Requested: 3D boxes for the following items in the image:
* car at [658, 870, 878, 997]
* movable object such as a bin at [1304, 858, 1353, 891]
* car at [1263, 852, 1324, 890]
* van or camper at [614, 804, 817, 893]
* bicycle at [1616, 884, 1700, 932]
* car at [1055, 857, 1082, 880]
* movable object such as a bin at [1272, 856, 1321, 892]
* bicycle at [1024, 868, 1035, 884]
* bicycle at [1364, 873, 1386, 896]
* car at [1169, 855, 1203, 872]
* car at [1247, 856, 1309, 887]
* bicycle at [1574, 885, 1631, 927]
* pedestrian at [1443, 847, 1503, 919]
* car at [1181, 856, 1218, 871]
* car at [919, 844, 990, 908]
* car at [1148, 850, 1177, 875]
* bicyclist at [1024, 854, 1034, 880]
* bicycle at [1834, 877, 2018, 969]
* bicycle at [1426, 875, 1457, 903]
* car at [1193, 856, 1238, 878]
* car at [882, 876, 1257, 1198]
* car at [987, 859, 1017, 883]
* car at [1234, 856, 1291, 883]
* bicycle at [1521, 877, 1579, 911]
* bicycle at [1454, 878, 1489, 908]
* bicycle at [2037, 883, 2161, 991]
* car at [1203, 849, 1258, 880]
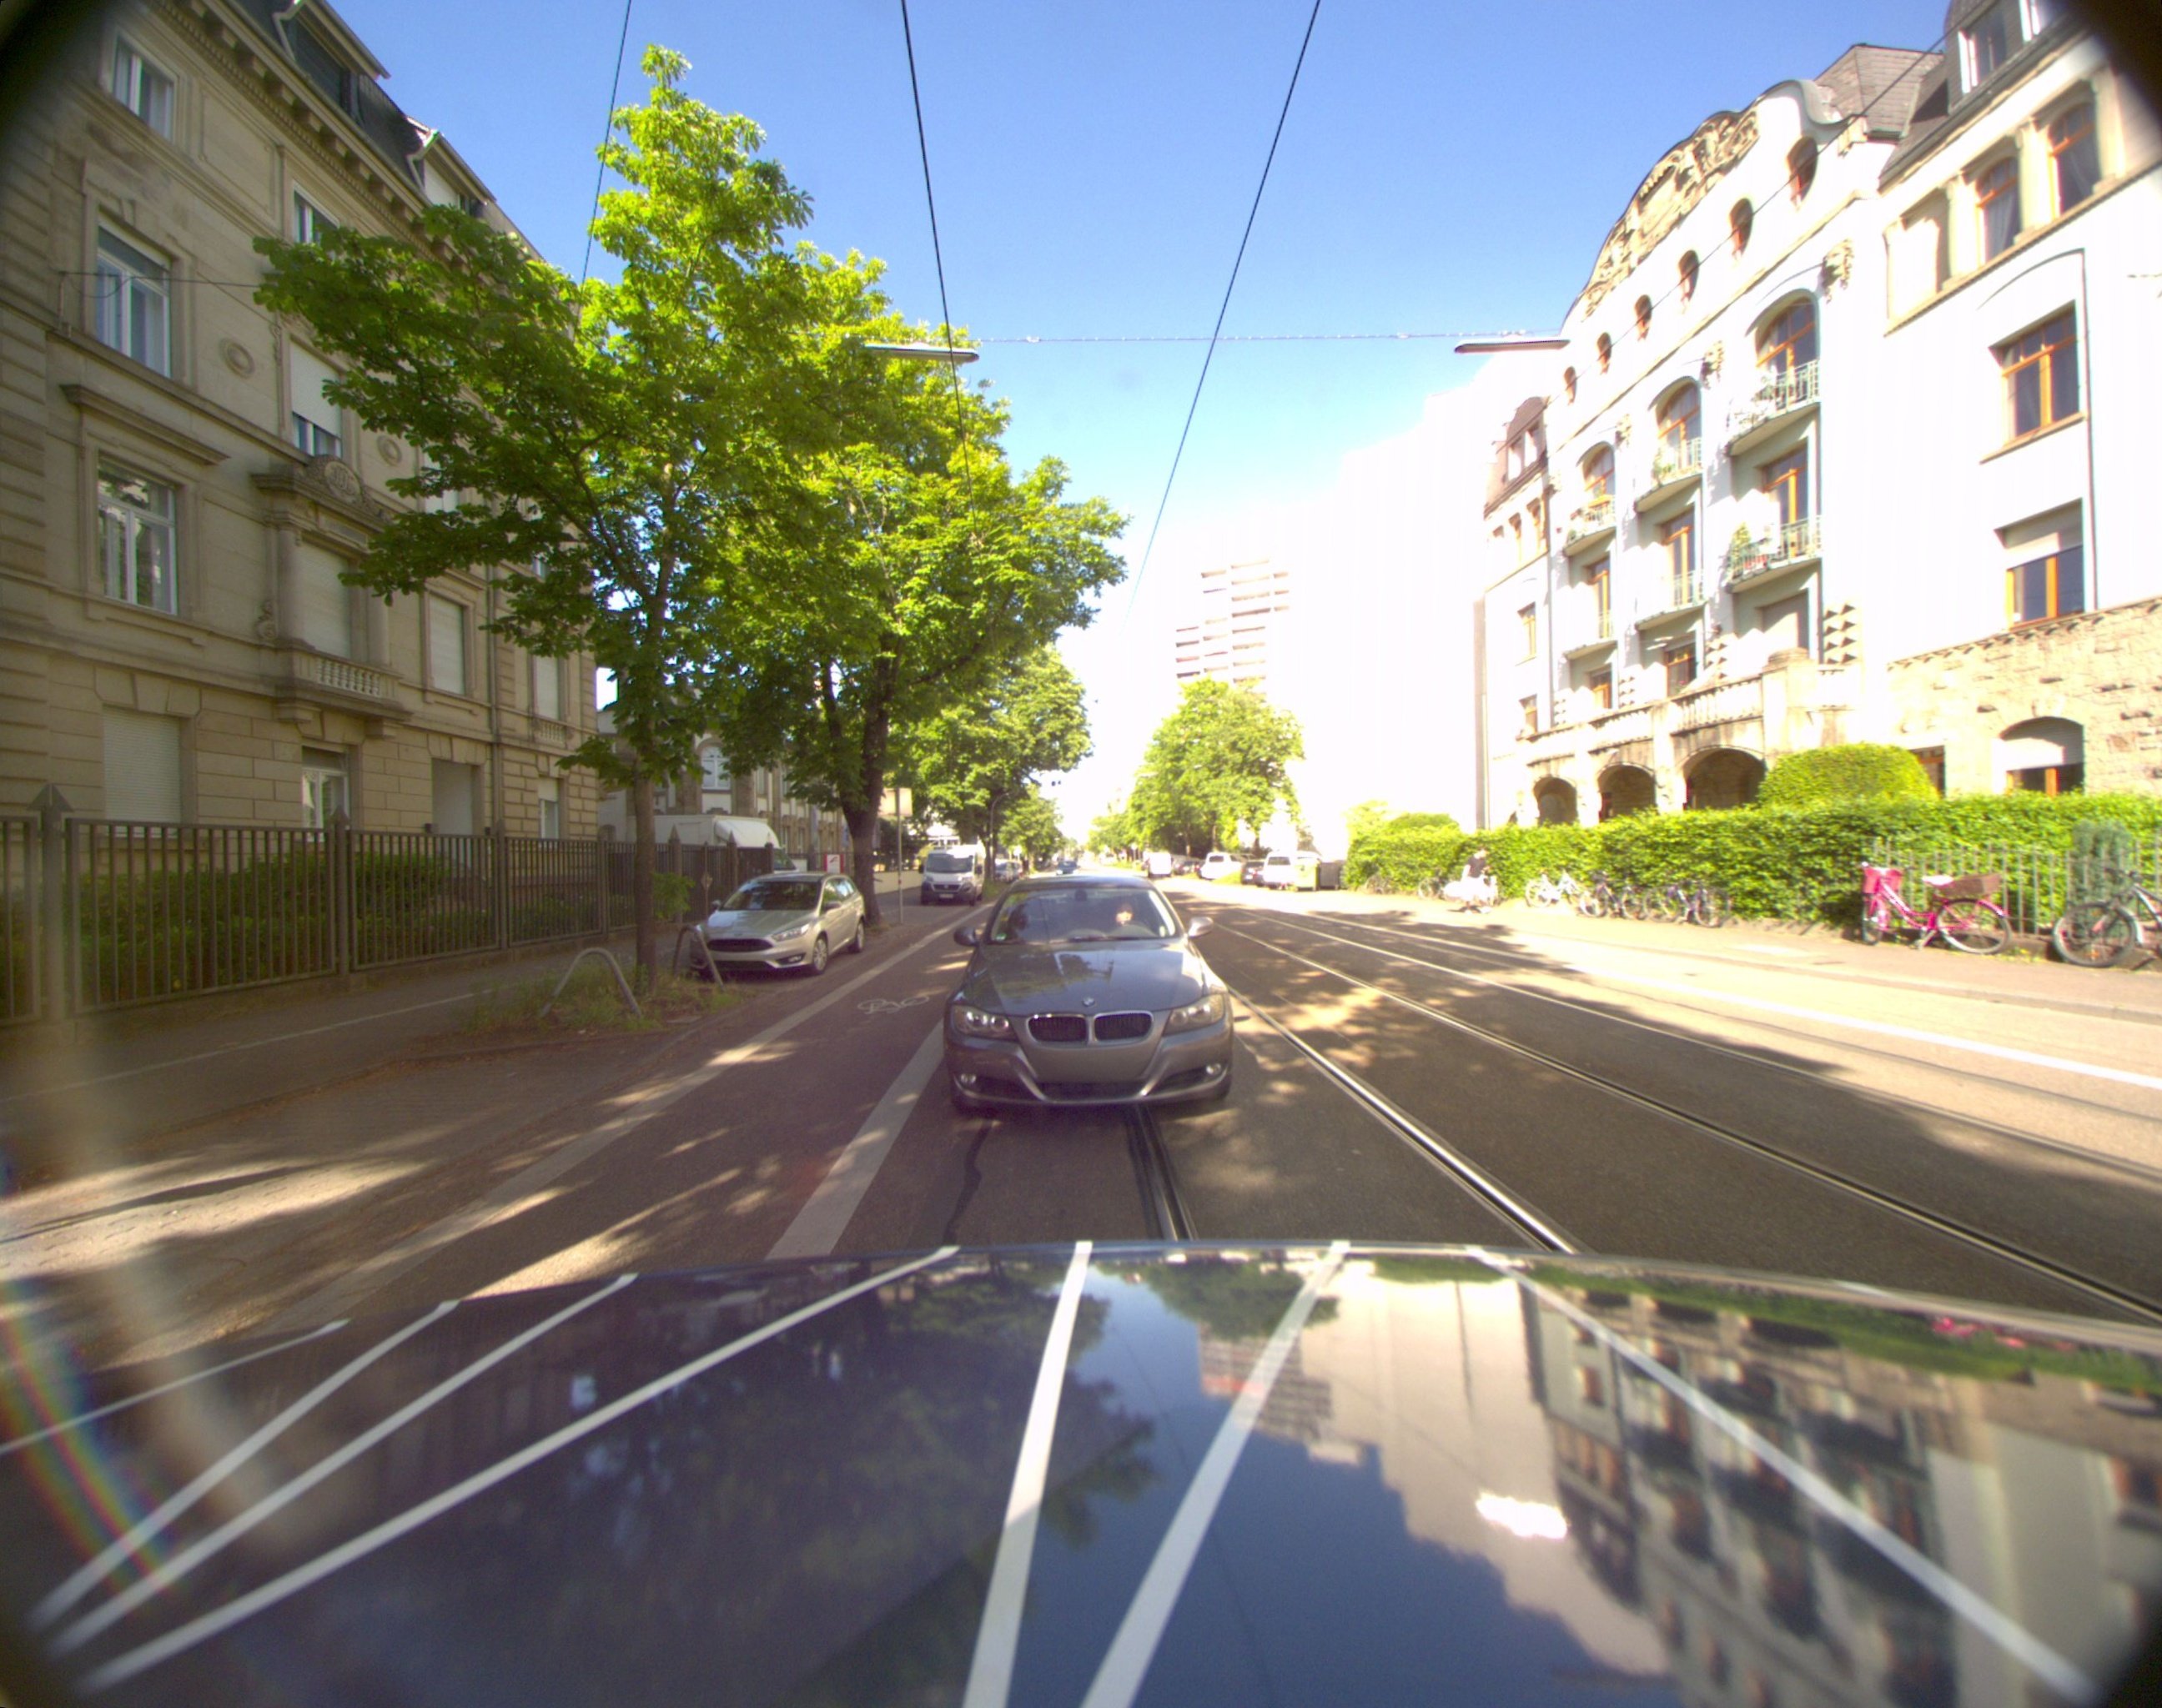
[{"bbox_3d":[-4.708,1.094,12.210,1.877,1.534,4.364,0,1,-3],"label":"car"},{"bbox_3d":[11.114,0.903,34.210,1.501,1.309,2.096,-2,1,1],"label":"movable object such as a bin"},{"bbox_3d":[10.277,0.812,36.709,3.194,1.763,1.456,1,-2,-45],"label":"car"},{"bbox_3d":[-12.167,-0.135,25.187,6.721,2.612,2.126,-2,1,24],"label":"van or camper"},{"bbox_3d":[10.913,0.998,14.426,0.405,0.757,1.581,-2,1,1],"label":"bicycle"},{"bbox_3d":[-0.911,1.037,57.771,1.828,1.559,3.999,-2,1,1],"label":"car"},{"bbox_3d":[9.399,0.848,33.241,1.512,1.424,2.096,-2,1,1],"label":"movable object such as a bin"},{"bbox_3d":[-3.470,1.468,51.102,0.535,0.917,2.057,-2,1,1],"label":"bicycle"},{"bbox_3d":[10.630,1.101,27.455,0.297,0.757,1.263,-2,1,1],"label":"bicycle"},{"bbox_3d":[9.667,0.854,69.897,2.757,1.417,1.226,-2,1,-16],"label":"car"},{"bbox_3d":[10.265,0.894,39.657,2.757,1.427,1.458,-2,1,-16],"label":"car"},{"bbox_3d":[10.914,1.076,15.932,0.339,0.757,1.263,-2,1,1],"label":"bicycle"},{"bbox_3d":[9.555,0.695,18.536,0.869,1.619,0.870,-6,1,1],"label":"pedestrian"},{"bbox_3d":[9.764,0.805,62.696,2.757,1.083,1.226,-2,1,-16],"label":"car"},{"bbox_3d":[-4.981,0.775,30.780,2.132,2.329,5.803,0,1,-3],"label":"car"},{"bbox_3d":[6.795,0.663,63.159,1.997,1.893,4.003,-2,1,11],"label":"car"},{"bbox_3d":[-3.498,0.870,51.015,0.532,1.660,0.878,-2,1,1],"label":"bicyclist"},{"bbox_3d":[11.009,0.857,9.998,0.405,1.018,1.816,-2,1,1],"label":"bicycle"},{"bbox_3d":[10.761,1.038,22.702,0.297,0.757,1.263,-2,1,1],"label":"bicycle"},{"bbox_3d":[9.471,0.910,53.543,2.757,1.427,1.458,-2,1,-16],"label":"car"},{"bbox_3d":[-0.029,1.004,5.897,1.869,1.426,3.999,-2,1,1],"label":"car"},{"bbox_3d":[-5.537,1.188,53.760,1.866,1.541,4.101,-2,1,-3],"label":"car"},{"bbox_3d":[10.262,0.856,43.024,2.757,1.427,1.458,-2,1,-16],"label":"car"},{"bbox_3d":[11.788,1.003,19.103,1.262,0.789,0.297,-2,1,1],"label":"bicycle"},{"bbox_3d":[10.740,1.058,20.911,0.318,0.757,1.263,-2,1,1],"label":"bicycle"},{"bbox_3d":[11.078,0.861,7.740,0.405,1.018,1.816,-2,1,1],"label":"bicycle"},{"bbox_3d":[9.898,0.683,50.114,3.450,1.860,1.918,-3,1,-44],"label":"car"}]
